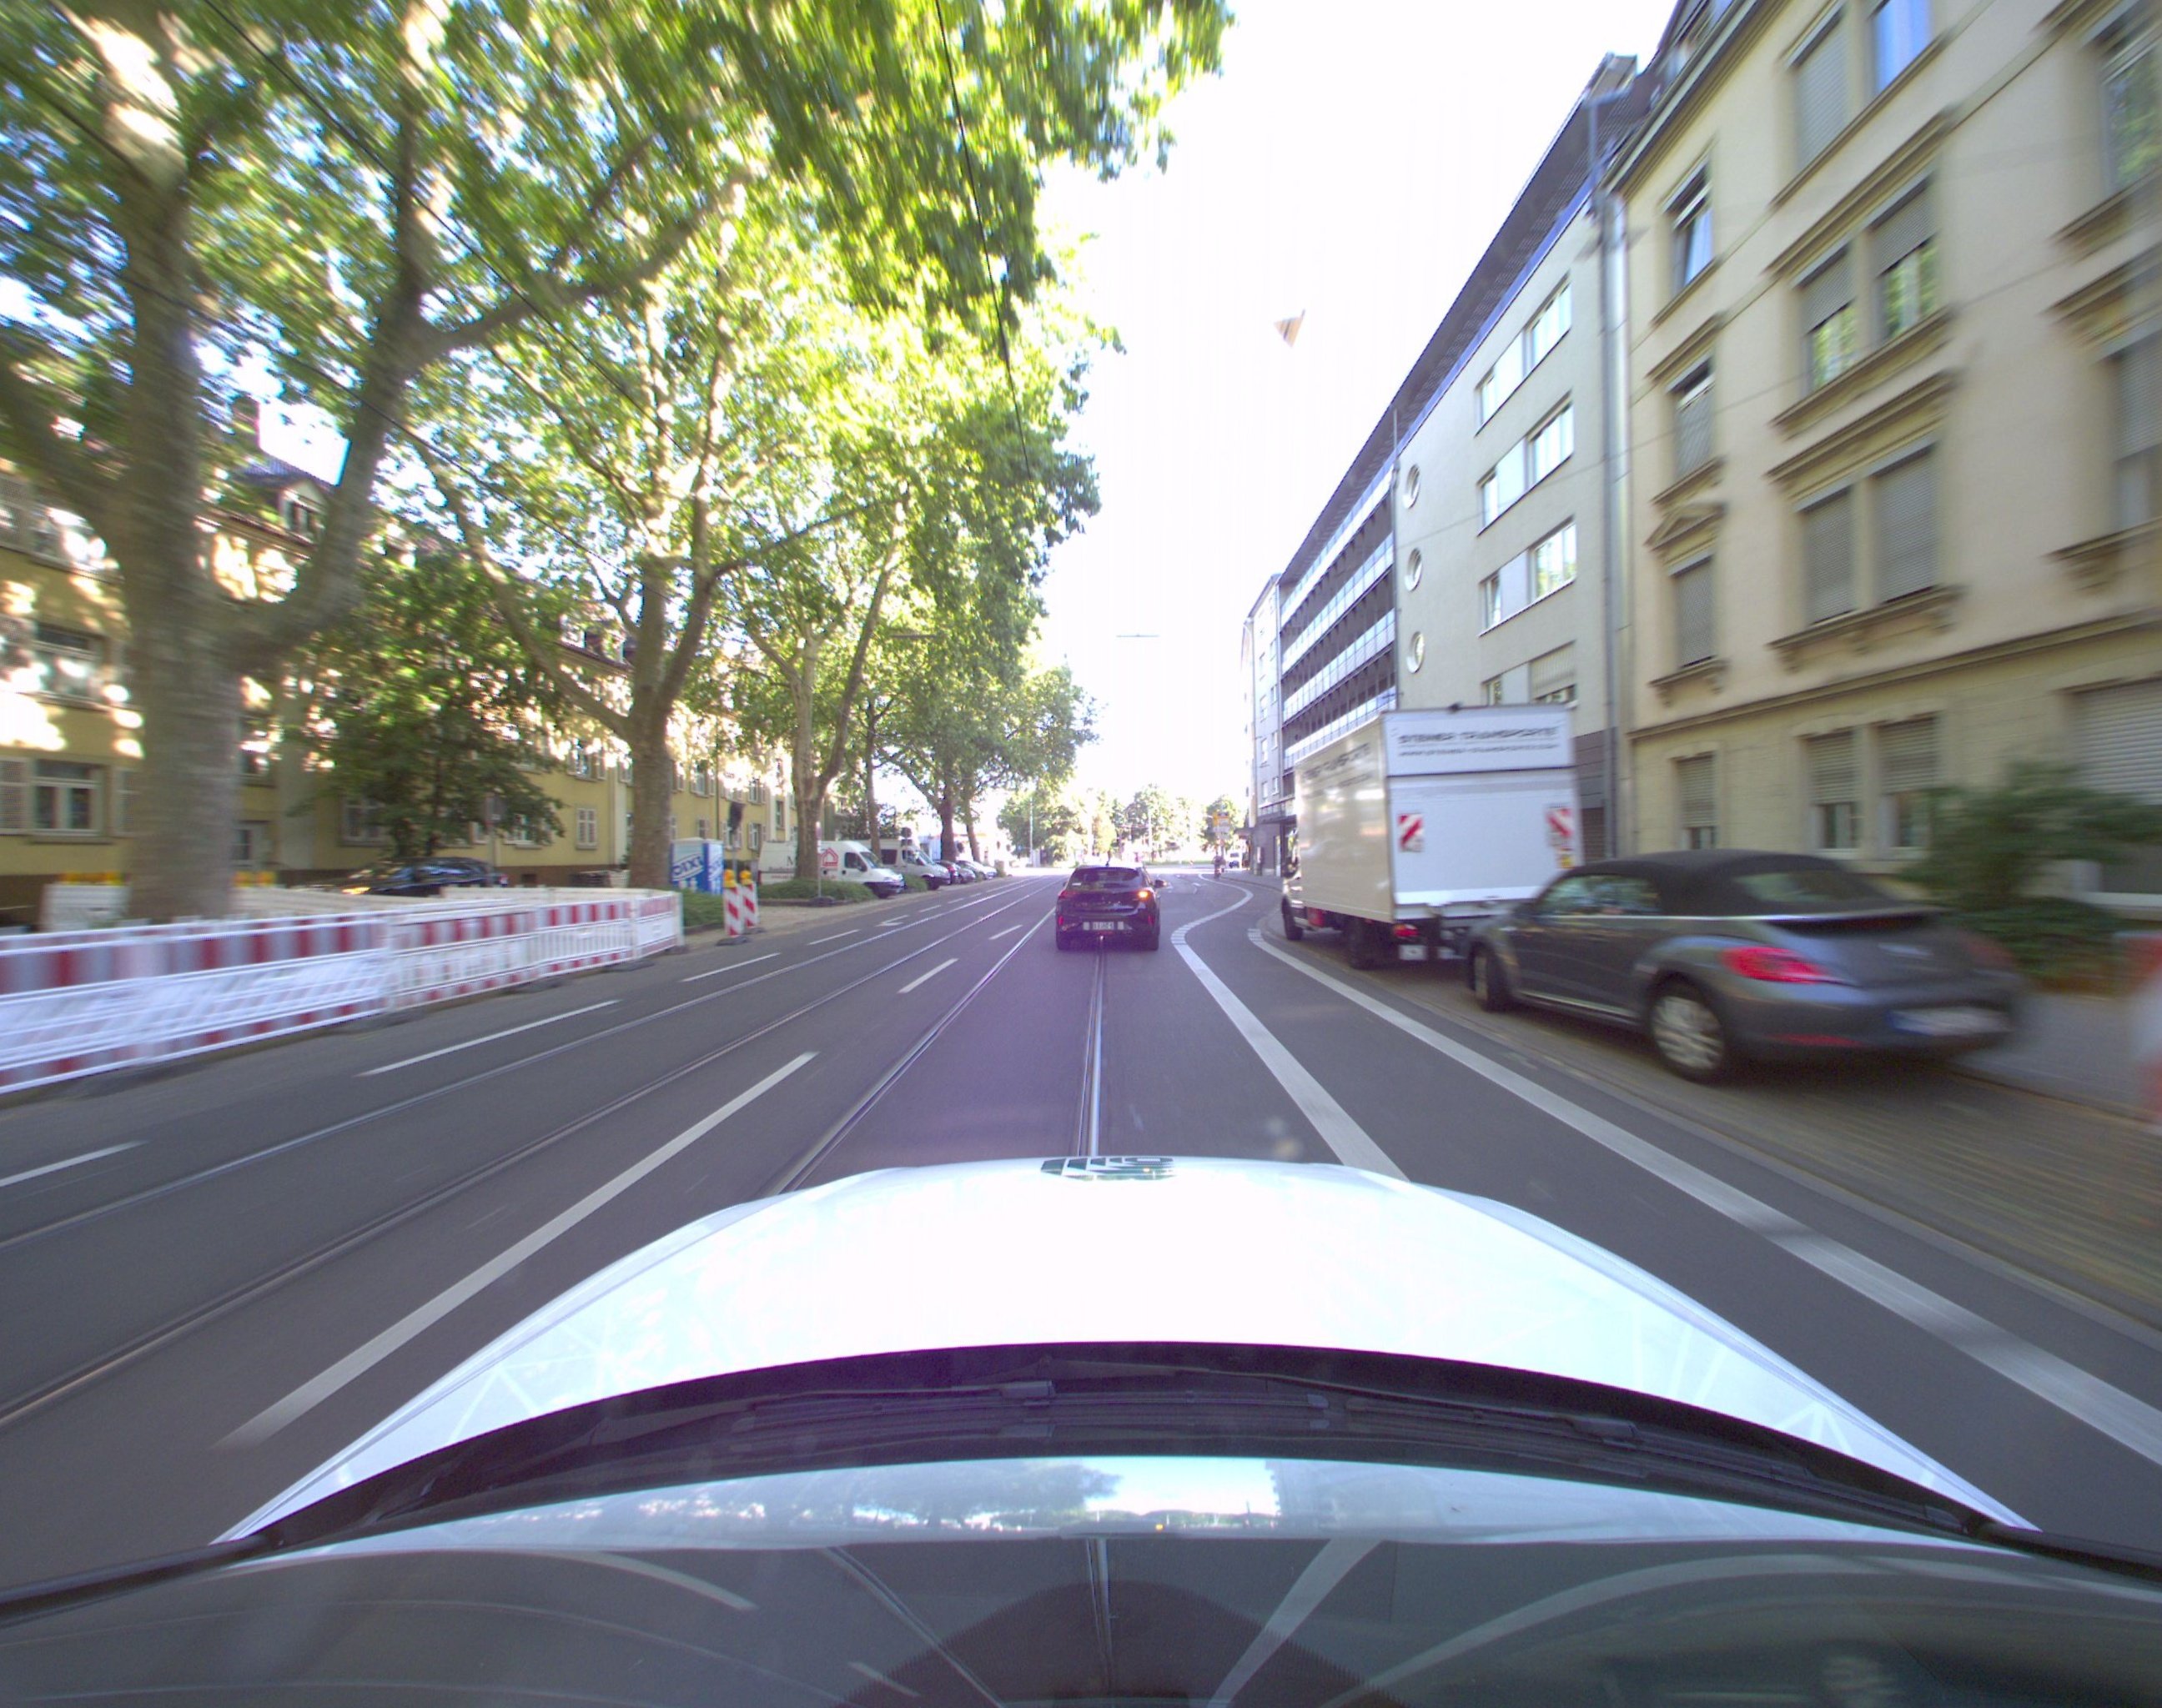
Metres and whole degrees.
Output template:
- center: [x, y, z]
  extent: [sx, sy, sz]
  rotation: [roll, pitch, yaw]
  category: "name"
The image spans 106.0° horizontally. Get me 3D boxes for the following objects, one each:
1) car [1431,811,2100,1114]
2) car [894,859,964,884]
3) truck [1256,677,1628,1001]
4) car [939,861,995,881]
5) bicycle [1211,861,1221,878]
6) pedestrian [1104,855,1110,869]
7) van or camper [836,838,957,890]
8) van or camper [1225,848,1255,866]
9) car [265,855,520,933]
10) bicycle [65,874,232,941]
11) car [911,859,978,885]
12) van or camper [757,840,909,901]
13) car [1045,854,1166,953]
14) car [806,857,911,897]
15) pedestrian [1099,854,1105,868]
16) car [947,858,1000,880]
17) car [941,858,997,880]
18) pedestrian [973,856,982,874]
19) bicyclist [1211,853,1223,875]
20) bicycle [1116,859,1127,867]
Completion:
- center: [4.699, 0.609, 6.579]
  extent: [1.727, 1.557, 4.147]
  rotation: [-3, 0, -3]
  category: "car"
- center: [-9.419, 1.072, 50.709]
  extent: [3.971, 1.515, 1.651]
  rotation: [0, -1, 2]
  category: "car"
- center: [4.638, -0.142, 12.354]
  extent: [2.528, 3.338, 7.199]
  rotation: [-3, 0, 2]
  category: "truck"
- center: [-8.712, 1.271, 62.272]
  extent: [3.971, 1.515, 1.651]
  rotation: [0, -1, 2]
  category: "car"
- center: [8.694, 1.004, 52.472]
  extent: [0.504, 1.067, 1.570]
  rotation: [-1, 0, 14]
  category: "bicycle"
- center: [3.624, 1.051, 111.768]
  extent: [0.651, 1.932, 0.613]
  rotation: [0, -1, 25]
  category: "pedestrian"
- center: [-9.593, 0.494, 42.683]
  extent: [5.701, 2.644, 2.270]
  rotation: [0, -1, 2]
  category: "van or camper"
- center: [19.756, 0.412, 101.019]
  extent: [2.147, 2.146, 4.534]
  rotation: [0, -1, 32]
  category: "van or camper"
- center: [-15.782, 0.822, 19.062]
  extent: [1.780, 1.571, 4.529]
  rotation: [1, 0, 7]
  category: "car"
- center: [-17.687, 0.973, 15.542]
  extent: [0.622, 1.141, 2.116]
  rotation: [-1, 0, 5]
  category: "bicycle"
- center: [-8.873, 1.154, 53.078]
  extent: [3.971, 1.651, 1.651]
  rotation: [0, -1, 2]
  category: "car"
- center: [-10.102, 0.660, 33.455]
  extent: [5.475, 2.379, 2.272]
  rotation: [0, -1, 5]
  category: "van or camper"
- center: [0.572, 0.765, 14.509]
  extent: [1.772, 1.496, 4.008]
  rotation: [0, 0, 7]
  category: "car"
- center: [-9.864, 1.013, 36.361]
  extent: [4.156, 1.671, 1.963]
  rotation: [-1, 0, -2]
  category: "car"
- center: [2.830, 0.922, 111.715]
  extent: [0.610, 1.854, 0.587]
  rotation: [0, -1, 29]
  category: "pedestrian"
- center: [-8.890, 1.225, 67.681]
  extent: [4.156, 1.671, 1.963]
  rotation: [-1, 0, -2]
  category: "car"
- center: [-8.949, 1.192, 65.203]
  extent: [4.156, 1.671, 1.963]
  rotation: [-1, 0, -2]
  category: "car"
- center: [-13.229, 1.401, 104.075]
  extent: [0.824, 2.221, 0.890]
  rotation: [1, -1, -33]
  category: "pedestrian"
- center: [8.773, 0.638, 52.526]
  extent: [0.701, 1.435, 0.705]
  rotation: [-1, -1, 14]
  category: "bicyclist"
- center: [5.146, 1.172, 102.487]
  extent: [0.782, 0.992, 2.254]
  rotation: [0, 0, 18]
  category: "bicycle"
